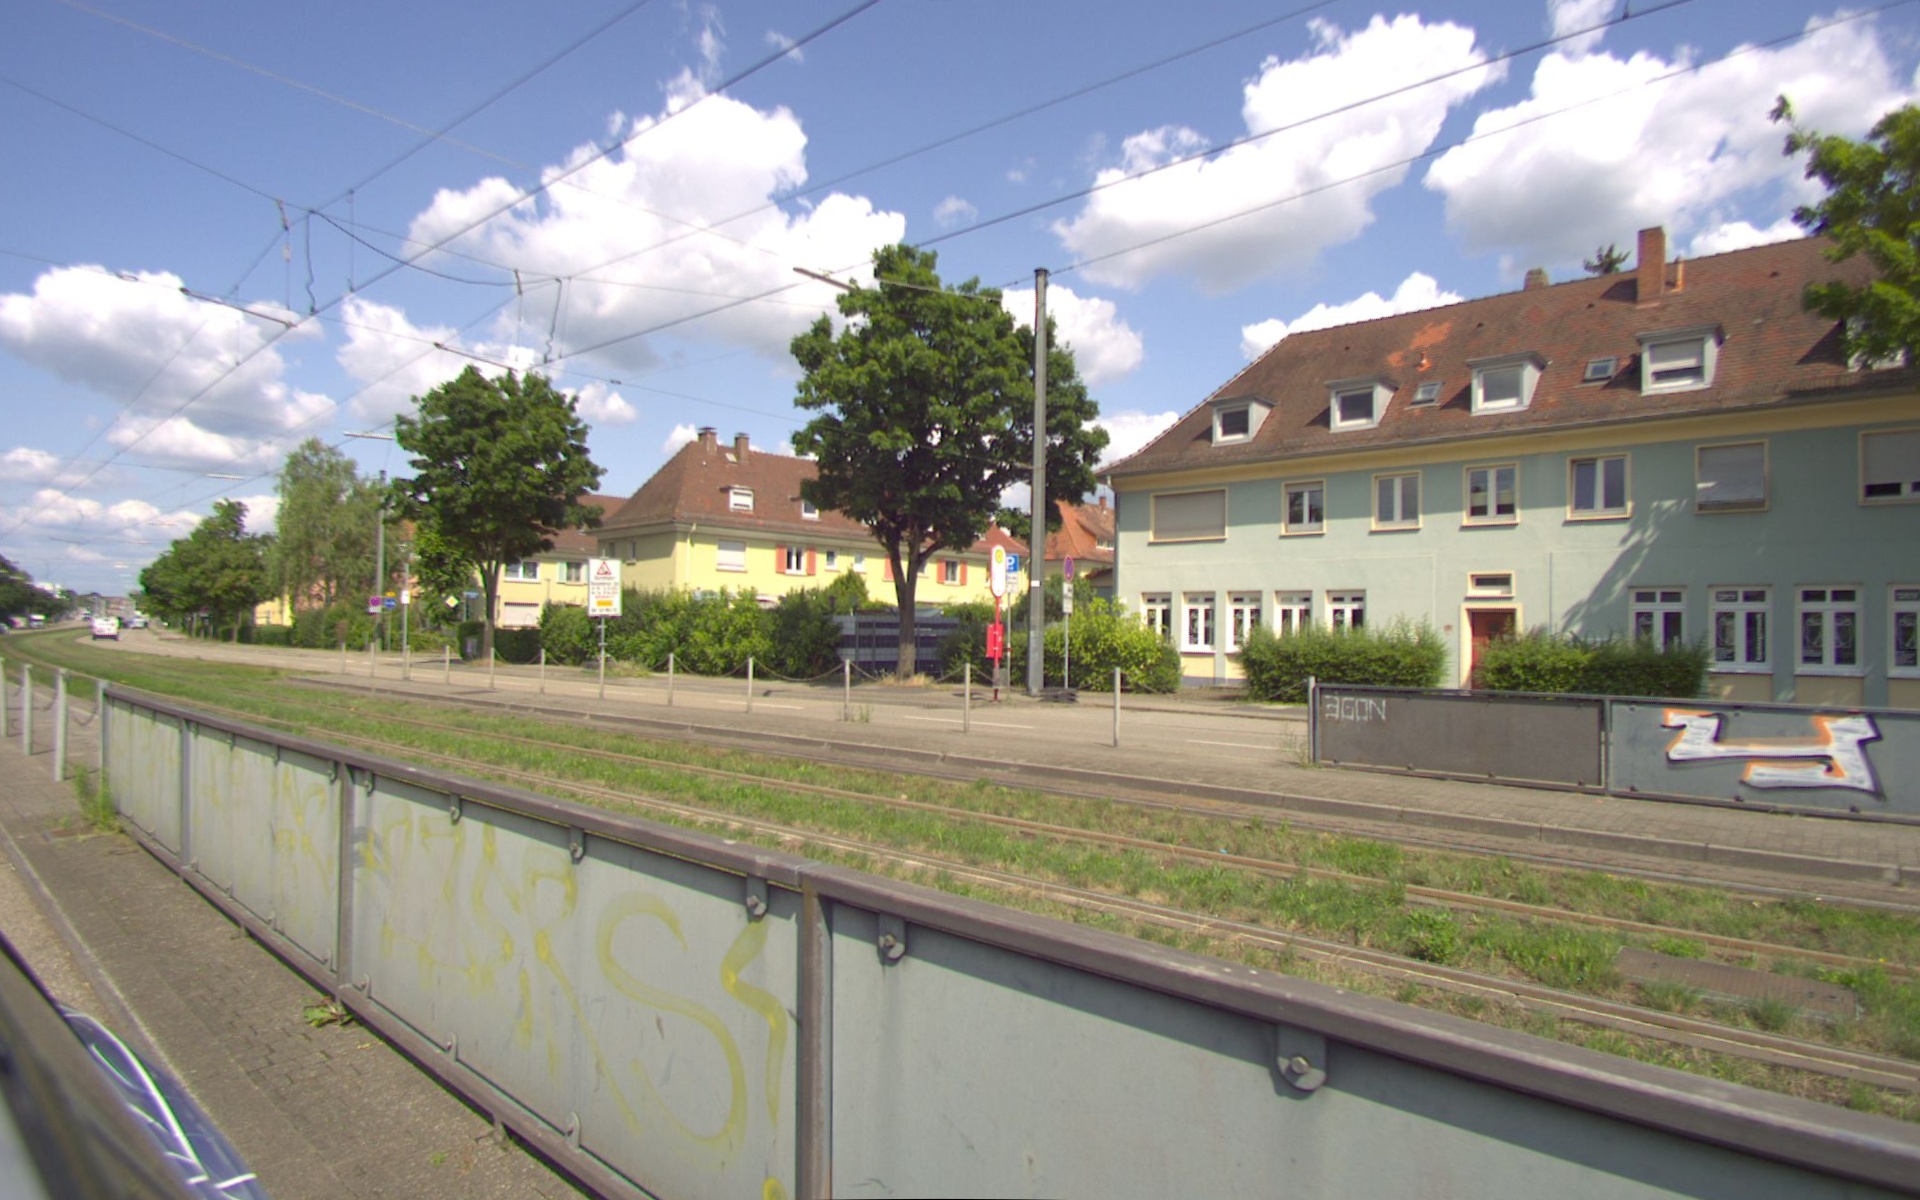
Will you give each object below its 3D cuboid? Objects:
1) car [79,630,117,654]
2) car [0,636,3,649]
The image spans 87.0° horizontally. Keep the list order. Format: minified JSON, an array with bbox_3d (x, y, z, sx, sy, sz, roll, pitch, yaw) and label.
[{"bbox_3d":[-88.898,4.303,104.355,5.332,2.390,2.172,-1,-4,42],"label":"car"},{"bbox_3d":[-116.932,5.116,122.042,1.969,1.497,4.005,1,-1,-41],"label":"car"}]
